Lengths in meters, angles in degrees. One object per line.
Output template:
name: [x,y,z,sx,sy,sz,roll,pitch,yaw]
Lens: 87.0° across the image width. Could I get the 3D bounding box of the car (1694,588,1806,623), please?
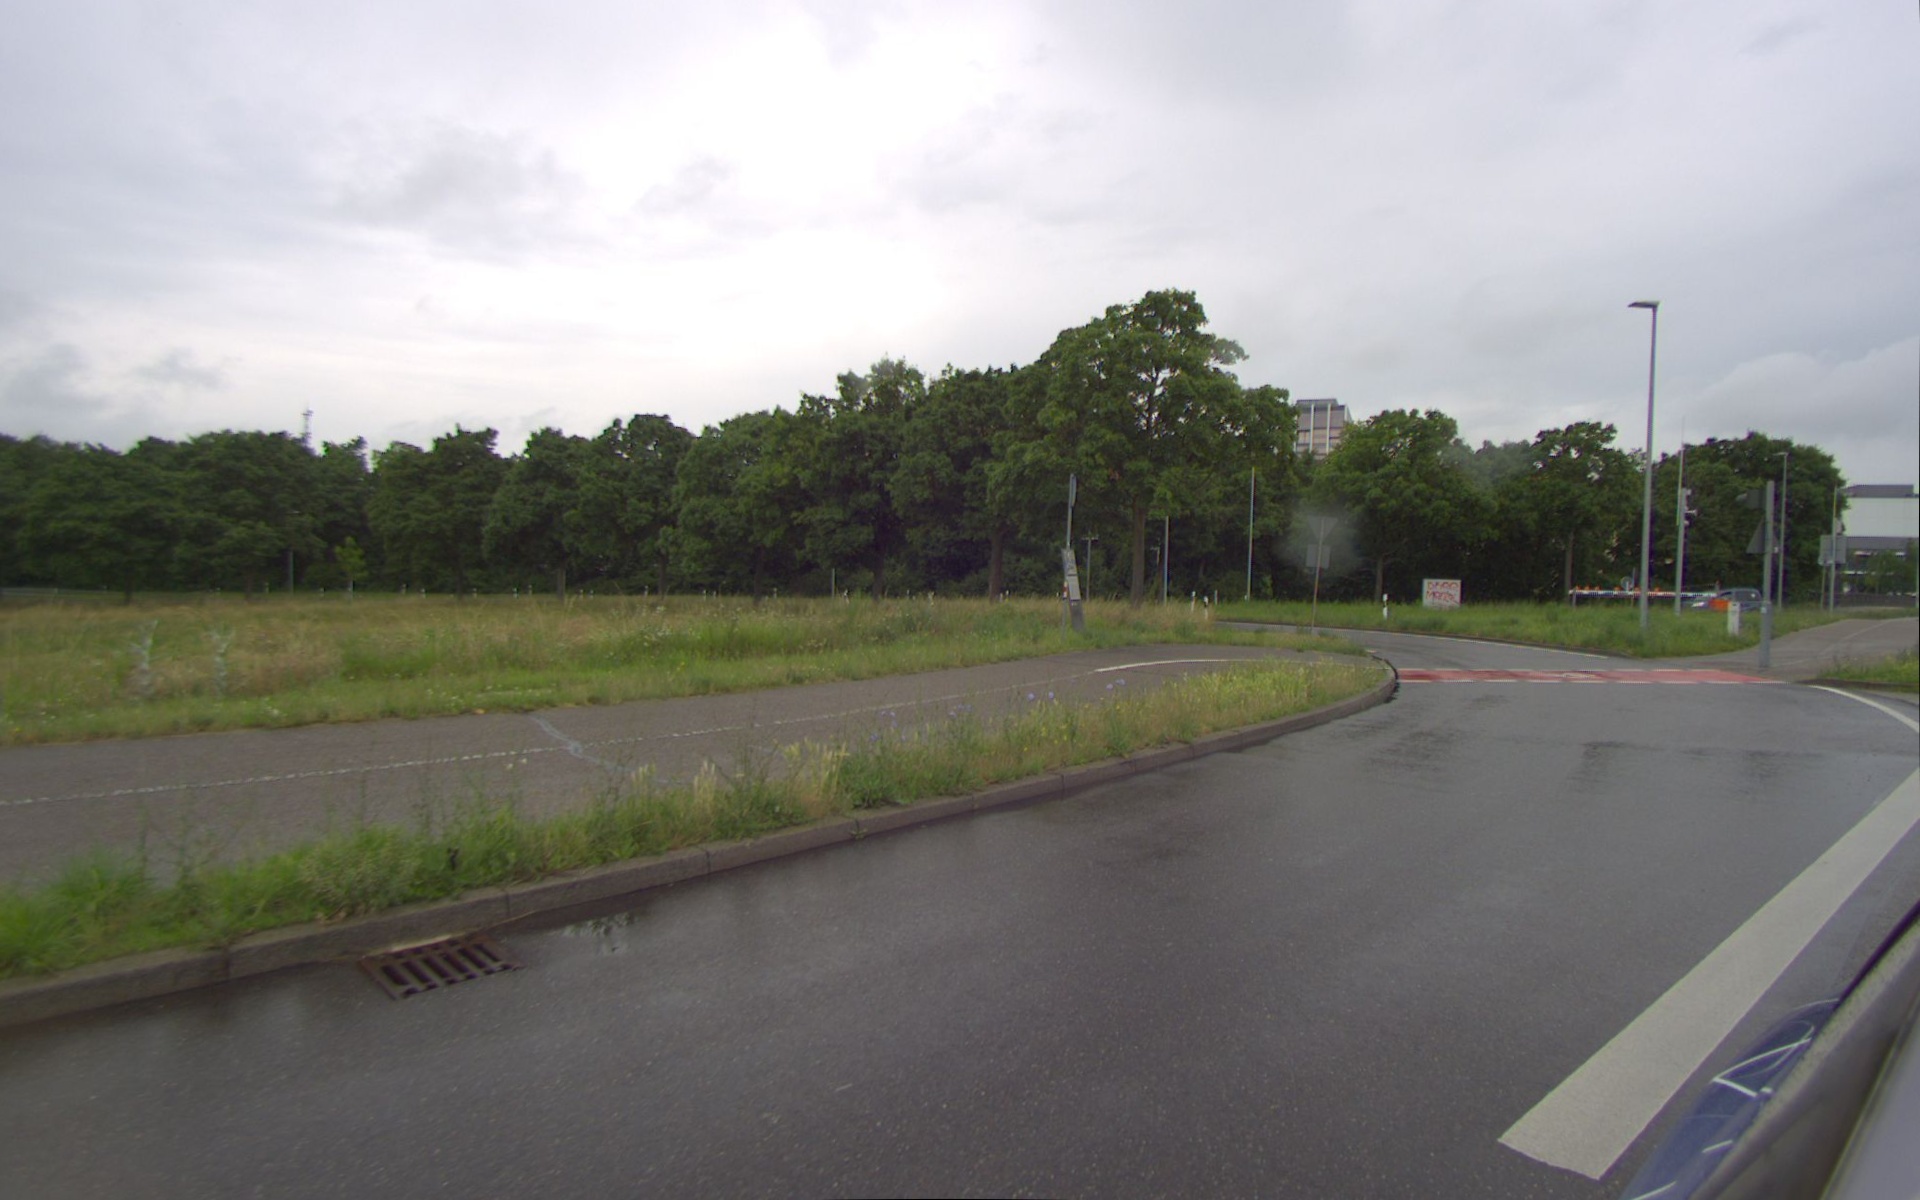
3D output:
car: [42.891,0.278,54.991,4.723,1.772,1.853,-1,1,-3]
